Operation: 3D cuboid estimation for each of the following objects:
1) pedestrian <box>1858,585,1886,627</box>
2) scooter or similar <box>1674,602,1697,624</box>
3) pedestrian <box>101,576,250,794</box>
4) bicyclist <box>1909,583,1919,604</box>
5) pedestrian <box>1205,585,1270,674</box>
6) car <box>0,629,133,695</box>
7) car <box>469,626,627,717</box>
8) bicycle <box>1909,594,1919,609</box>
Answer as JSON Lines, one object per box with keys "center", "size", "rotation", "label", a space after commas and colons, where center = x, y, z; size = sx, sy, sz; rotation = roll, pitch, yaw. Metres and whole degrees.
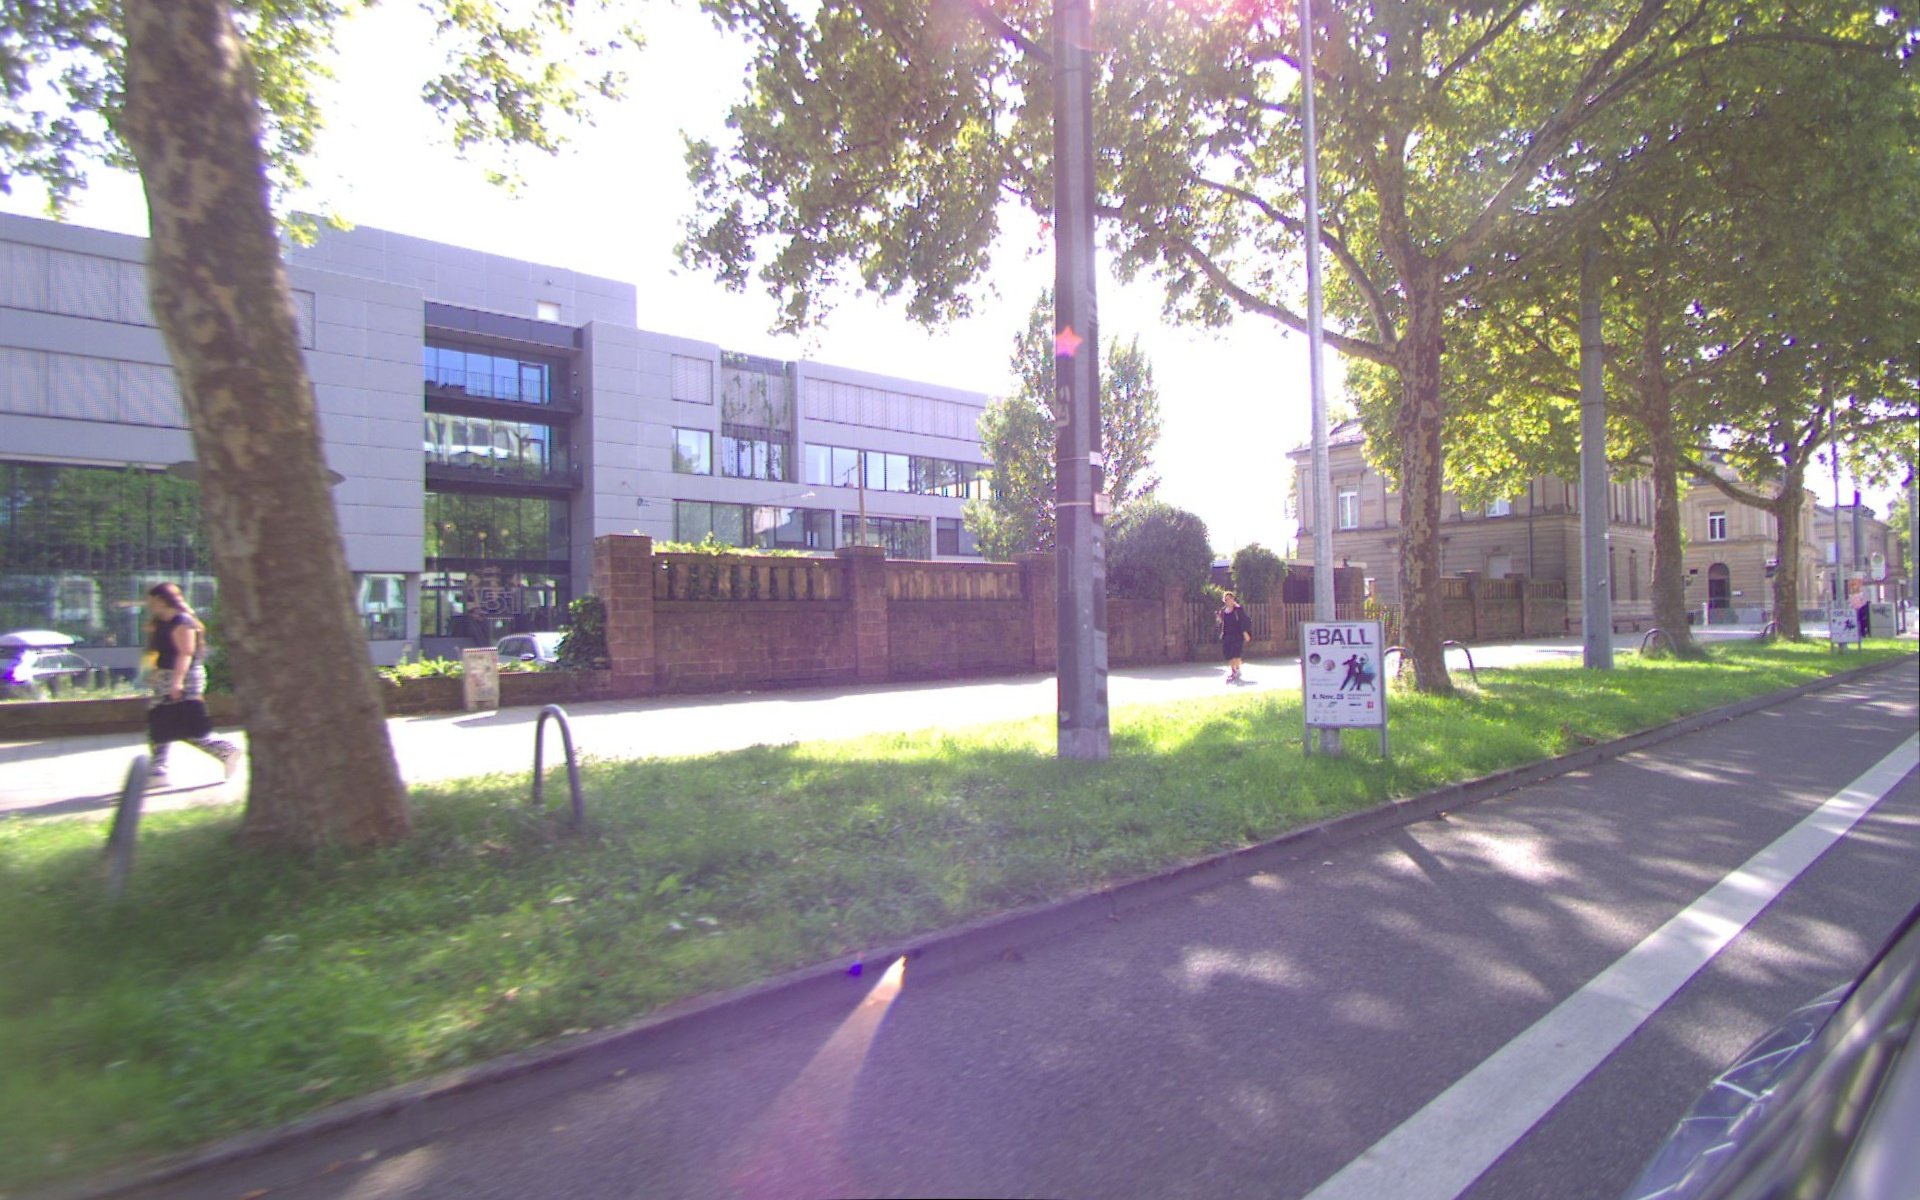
{"center": [37.932, 0.258, 42.082], "size": [0.683, 1.718, 0.642], "rotation": [-1, -1, 28], "label": "pedestrian"}
{"center": [41.343, 0.724, 57.669], "size": [1.228, 1.226, 0.423], "rotation": [1, -2, -19], "label": "scooter or similar"}
{"center": [-6.460, 0.643, 8.334], "size": [0.930, 1.657, 0.807], "rotation": [0, 0, -40], "label": "pedestrian"}
{"center": [72.813, -0.464, 77.064], "size": [0.940, 1.563, 0.718], "rotation": [1, -2, -43], "label": "bicyclist"}
{"center": [5.503, 0.566, 20.069], "size": [0.994, 1.708, 0.820], "rotation": [0, -1, -41], "label": "pedestrian"}
{"center": [-24.892, 1.621, 27.362], "size": [1.810, 1.531, 4.490], "rotation": [-1, 0, -7], "label": "car"}
{"center": [-8.496, 1.357, 20.647], "size": [1.734, 1.611, 4.343], "rotation": [0, -1, -40], "label": "car"}
{"center": [72.815, 0.117, 77.052], "size": [1.871, 1.055, 0.717], "rotation": [0, -2, -44], "label": "bicycle"}
